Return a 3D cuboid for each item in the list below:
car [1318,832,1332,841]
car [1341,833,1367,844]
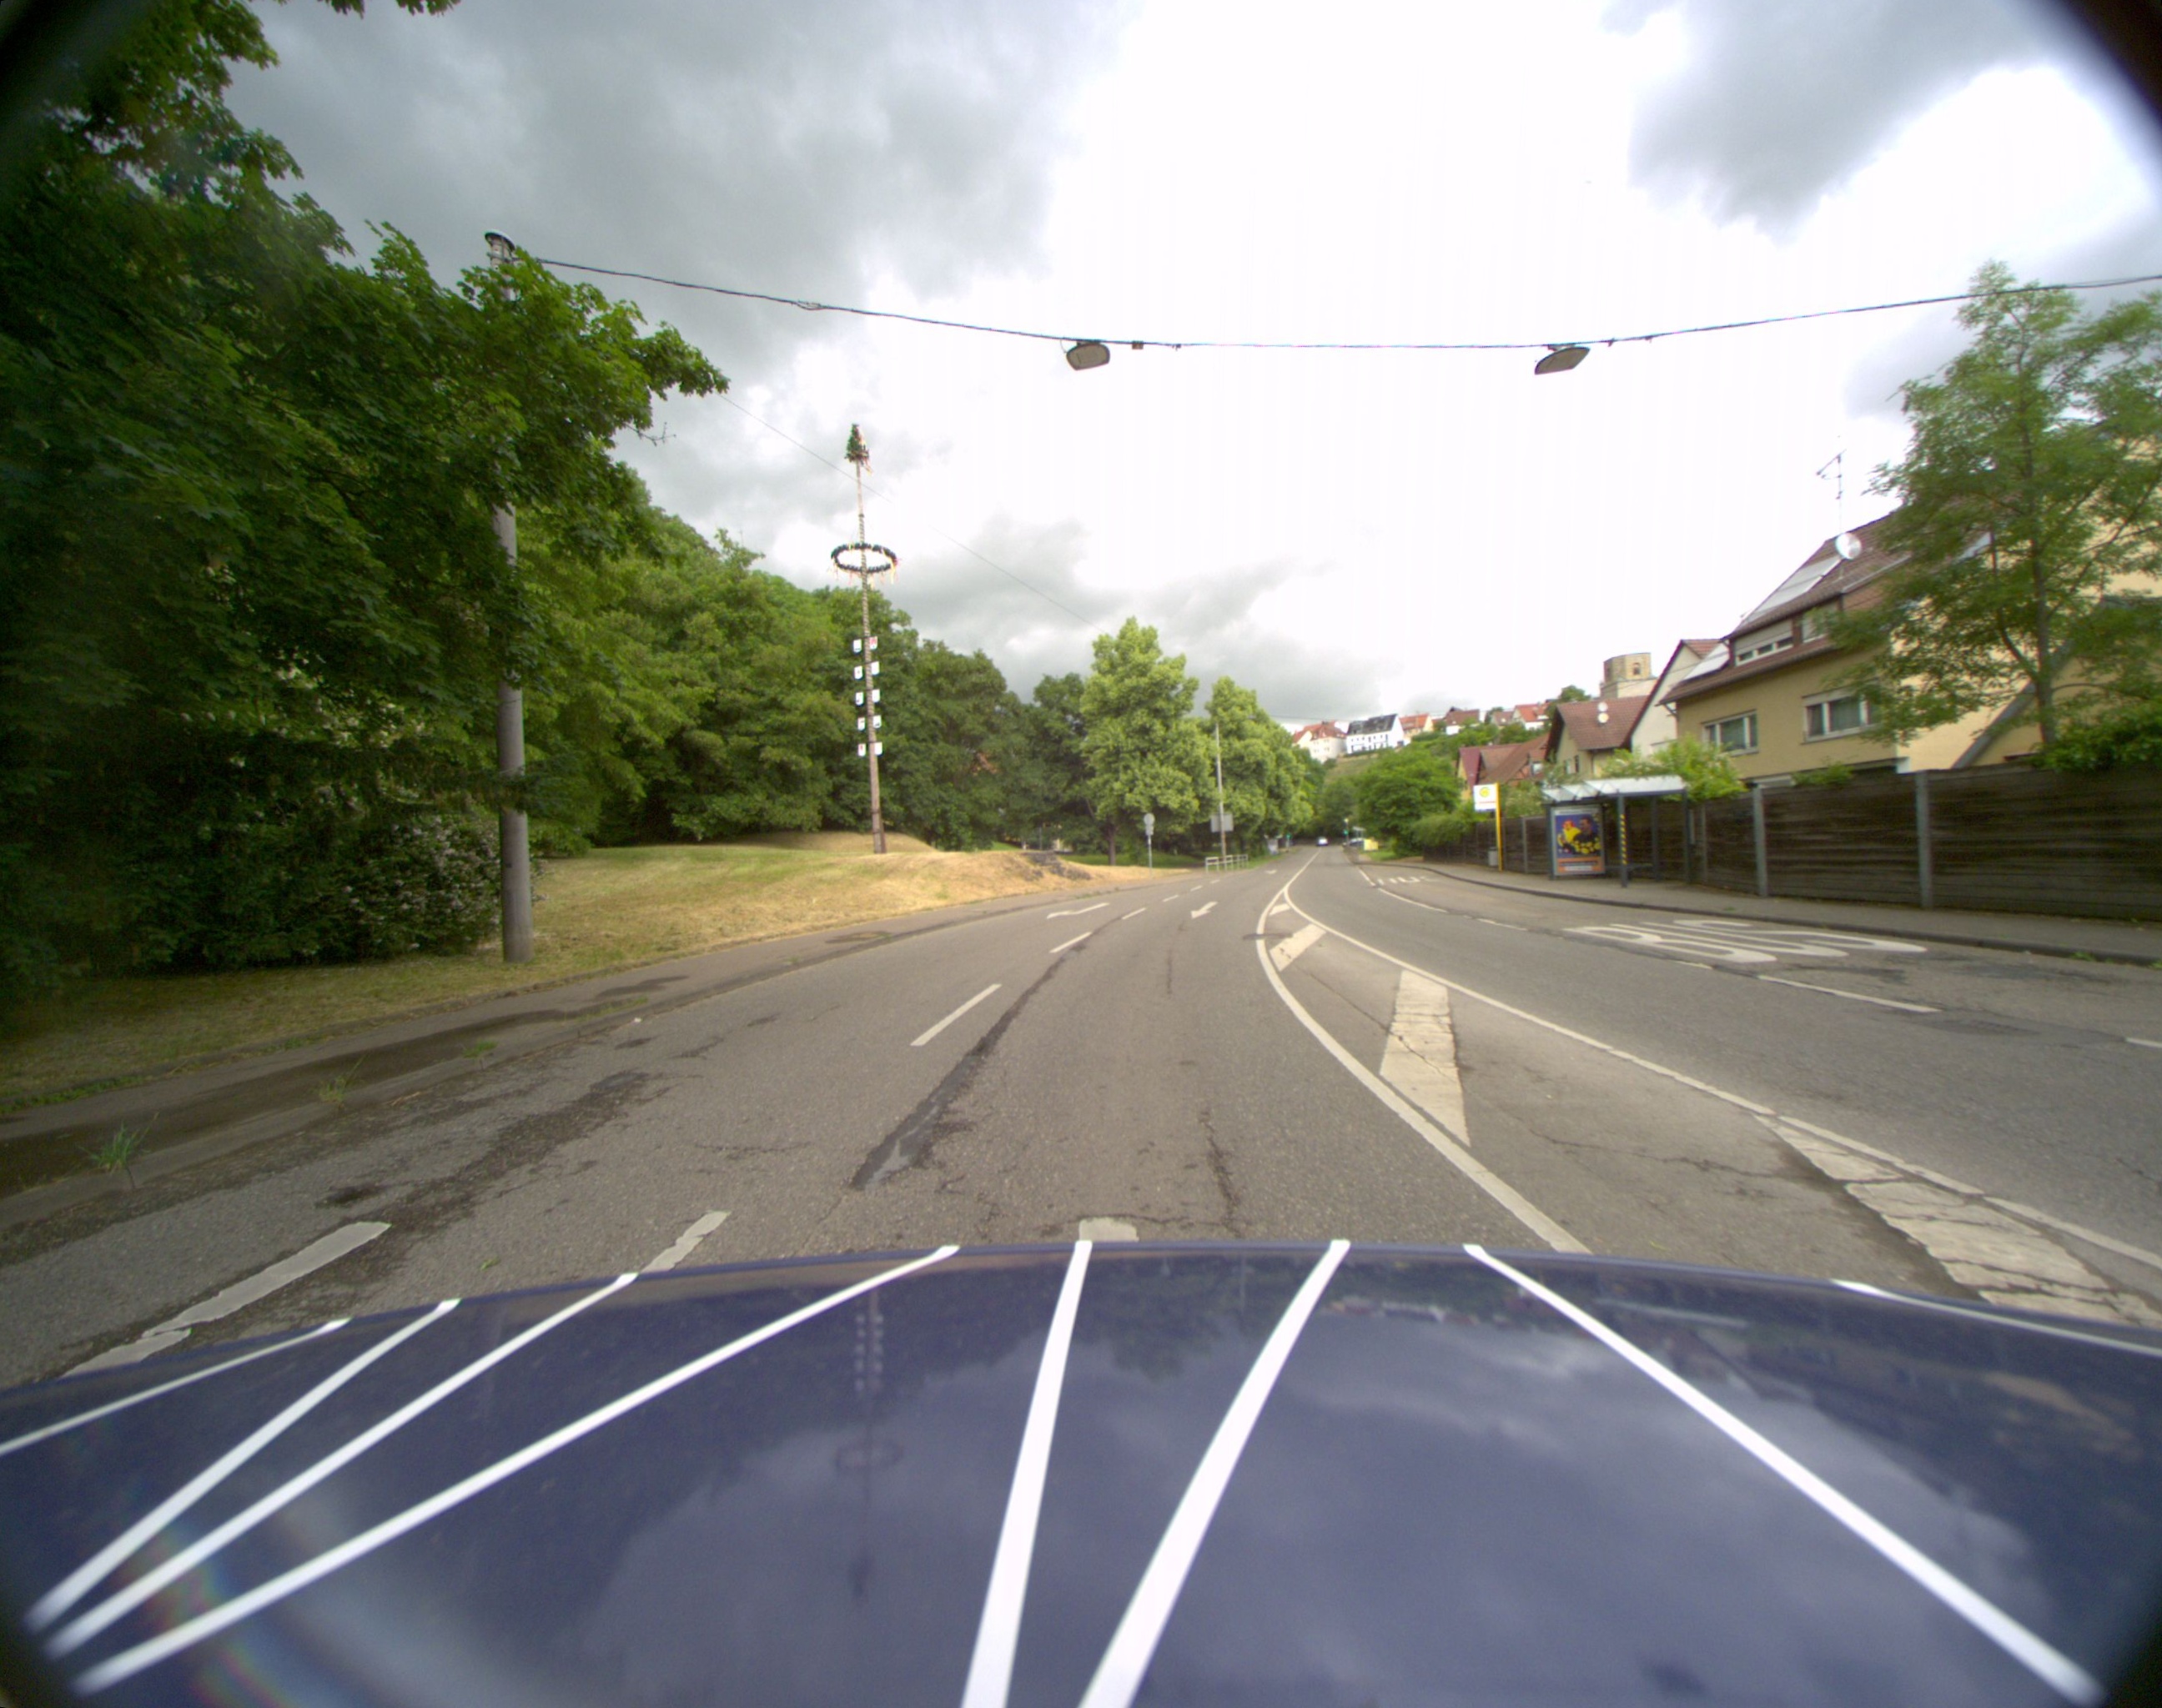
[{"bbox_3d":[46.511,-3.410,145.029,1.997,1.608,4.003,-2,1,11],"label":"car"},{"bbox_3d":[45.180,-2.595,125.845,3.674,1.575,1.768,-2,1,29],"label":"car"}]
